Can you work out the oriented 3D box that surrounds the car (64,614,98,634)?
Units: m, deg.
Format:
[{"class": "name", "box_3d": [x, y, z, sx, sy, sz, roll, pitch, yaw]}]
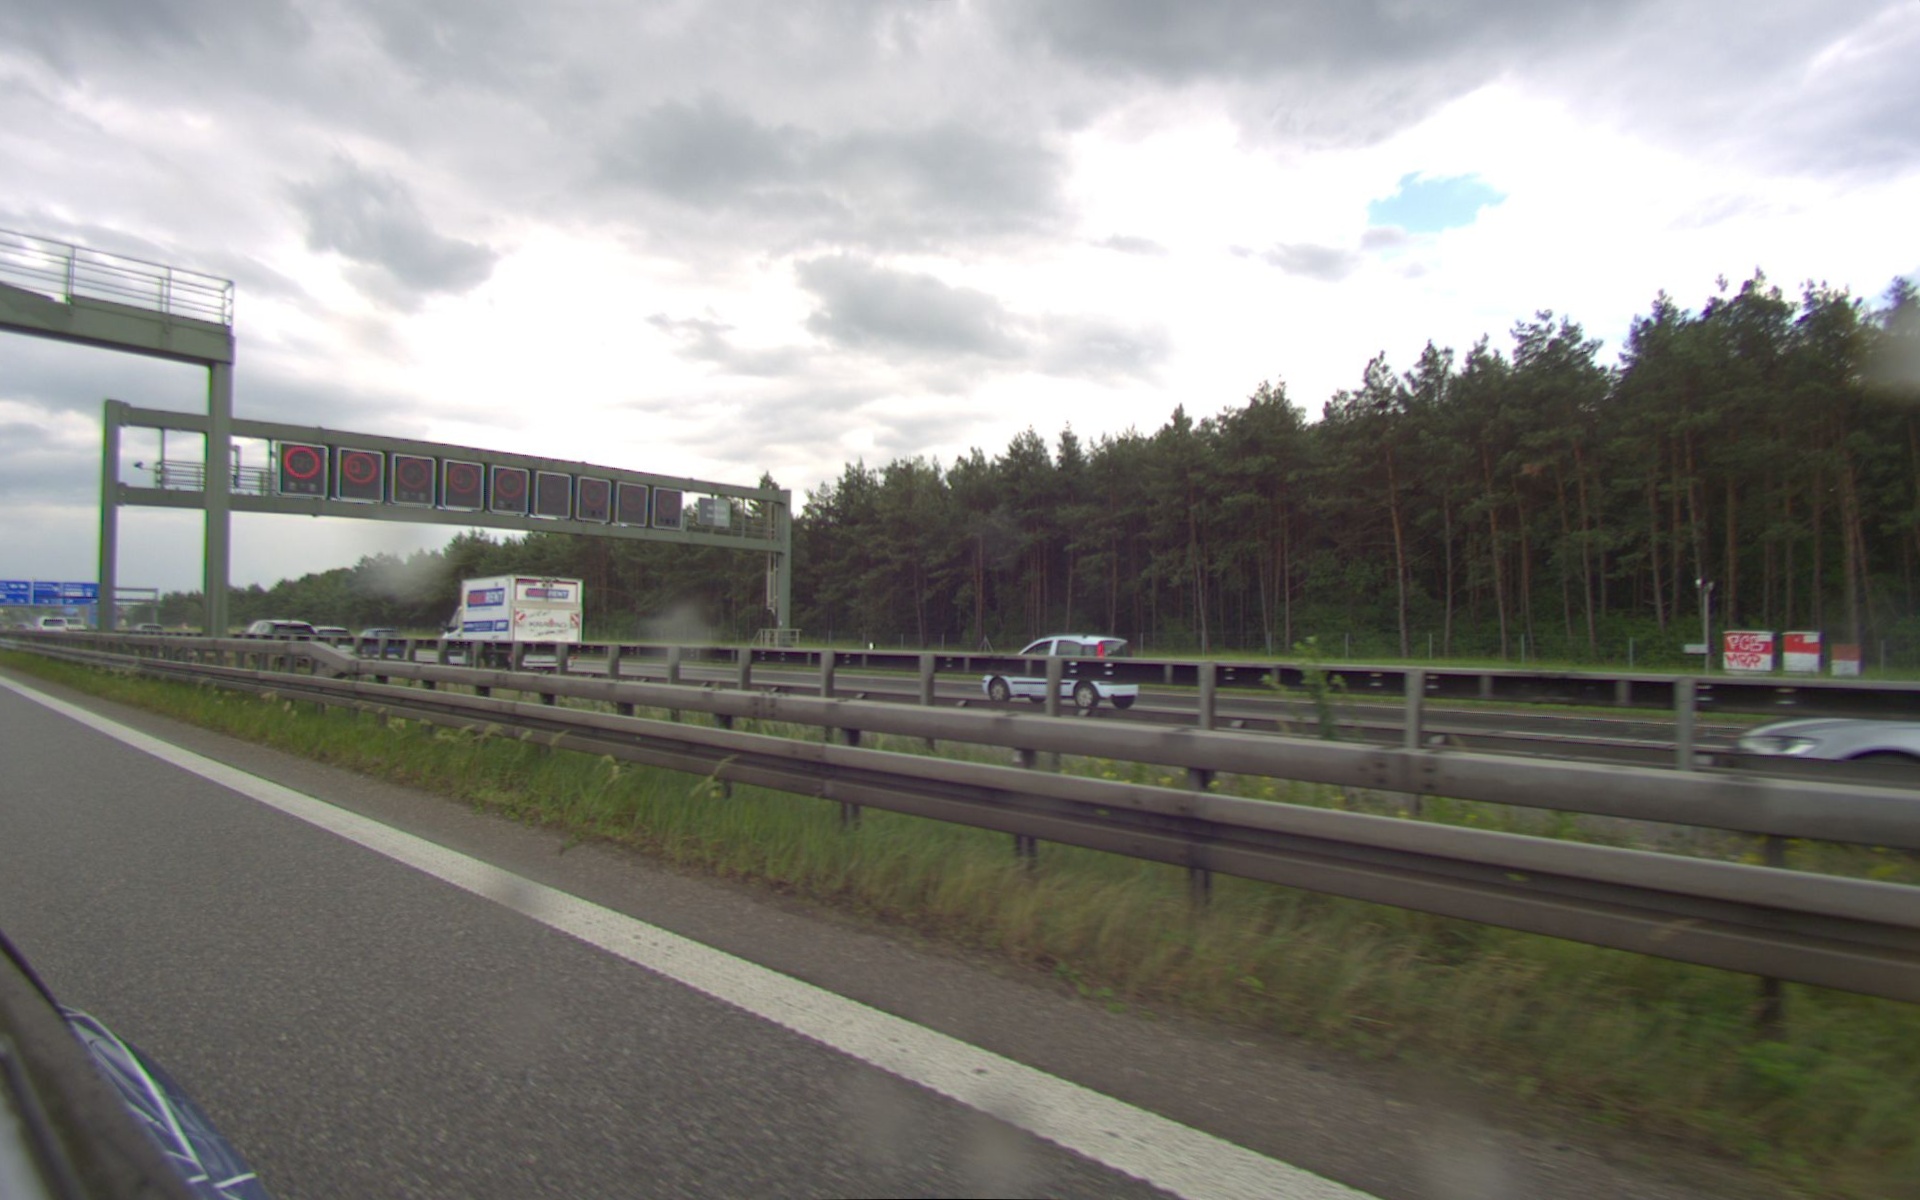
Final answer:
[{"class": "car", "box_3d": [-94.539, 2.592, 108.779, 6.741, 2.029, 2.258, -2, 0, 45]}]

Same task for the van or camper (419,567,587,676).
[{"class": "van or camper", "box_3d": [-14.827, 0.726, 32.498, 7.544, 3.136, 2.275, -2, -3, 44]}]

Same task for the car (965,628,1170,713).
[{"class": "car", "box_3d": [2.216, 1.423, 21.651, 4.153, 1.608, 1.705, -1, -2, 41]}]

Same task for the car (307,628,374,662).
[{"class": "car", "box_3d": [-26.371, 1.895, 43.062, 3.703, 1.386, 1.479, -1, -2, 43]}]

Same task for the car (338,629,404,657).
[{"class": "car", "box_3d": [-29.591, 2.131, 50.820, 3.998, 1.386, 1.725, -1, -2, 42]}]

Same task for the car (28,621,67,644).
[{"class": "car", "box_3d": [-74.944, 2.671, 83.096, 4.895, 1.882, 1.878, -2, -3, 42]}]

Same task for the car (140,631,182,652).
[{"class": "car", "box_3d": [-58.526, 2.985, 74.080, 4.561, 1.471, 1.654, -1, -2, 42]}]

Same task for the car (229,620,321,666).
[{"class": "car", "box_3d": [-23.880, 1.468, 35.234, 3.998, 1.526, 1.676, -1, -2, 41]}]

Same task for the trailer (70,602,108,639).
[{"class": "trailer", "box_3d": [-108.901, 2.541, 126.452, 14.627, 4.273, 2.075, -1, 0, 44]}]

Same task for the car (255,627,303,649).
[{"class": "car", "box_3d": [-42.915, 2.372, 63.762, 3.840, 1.267, 1.608, -1, -1, 42]}]

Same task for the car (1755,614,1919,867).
[{"class": "car", "box_3d": [7.845, 0.840, 5.598, 5.318, 1.541, 1.848, -1, -2, 42]}]
